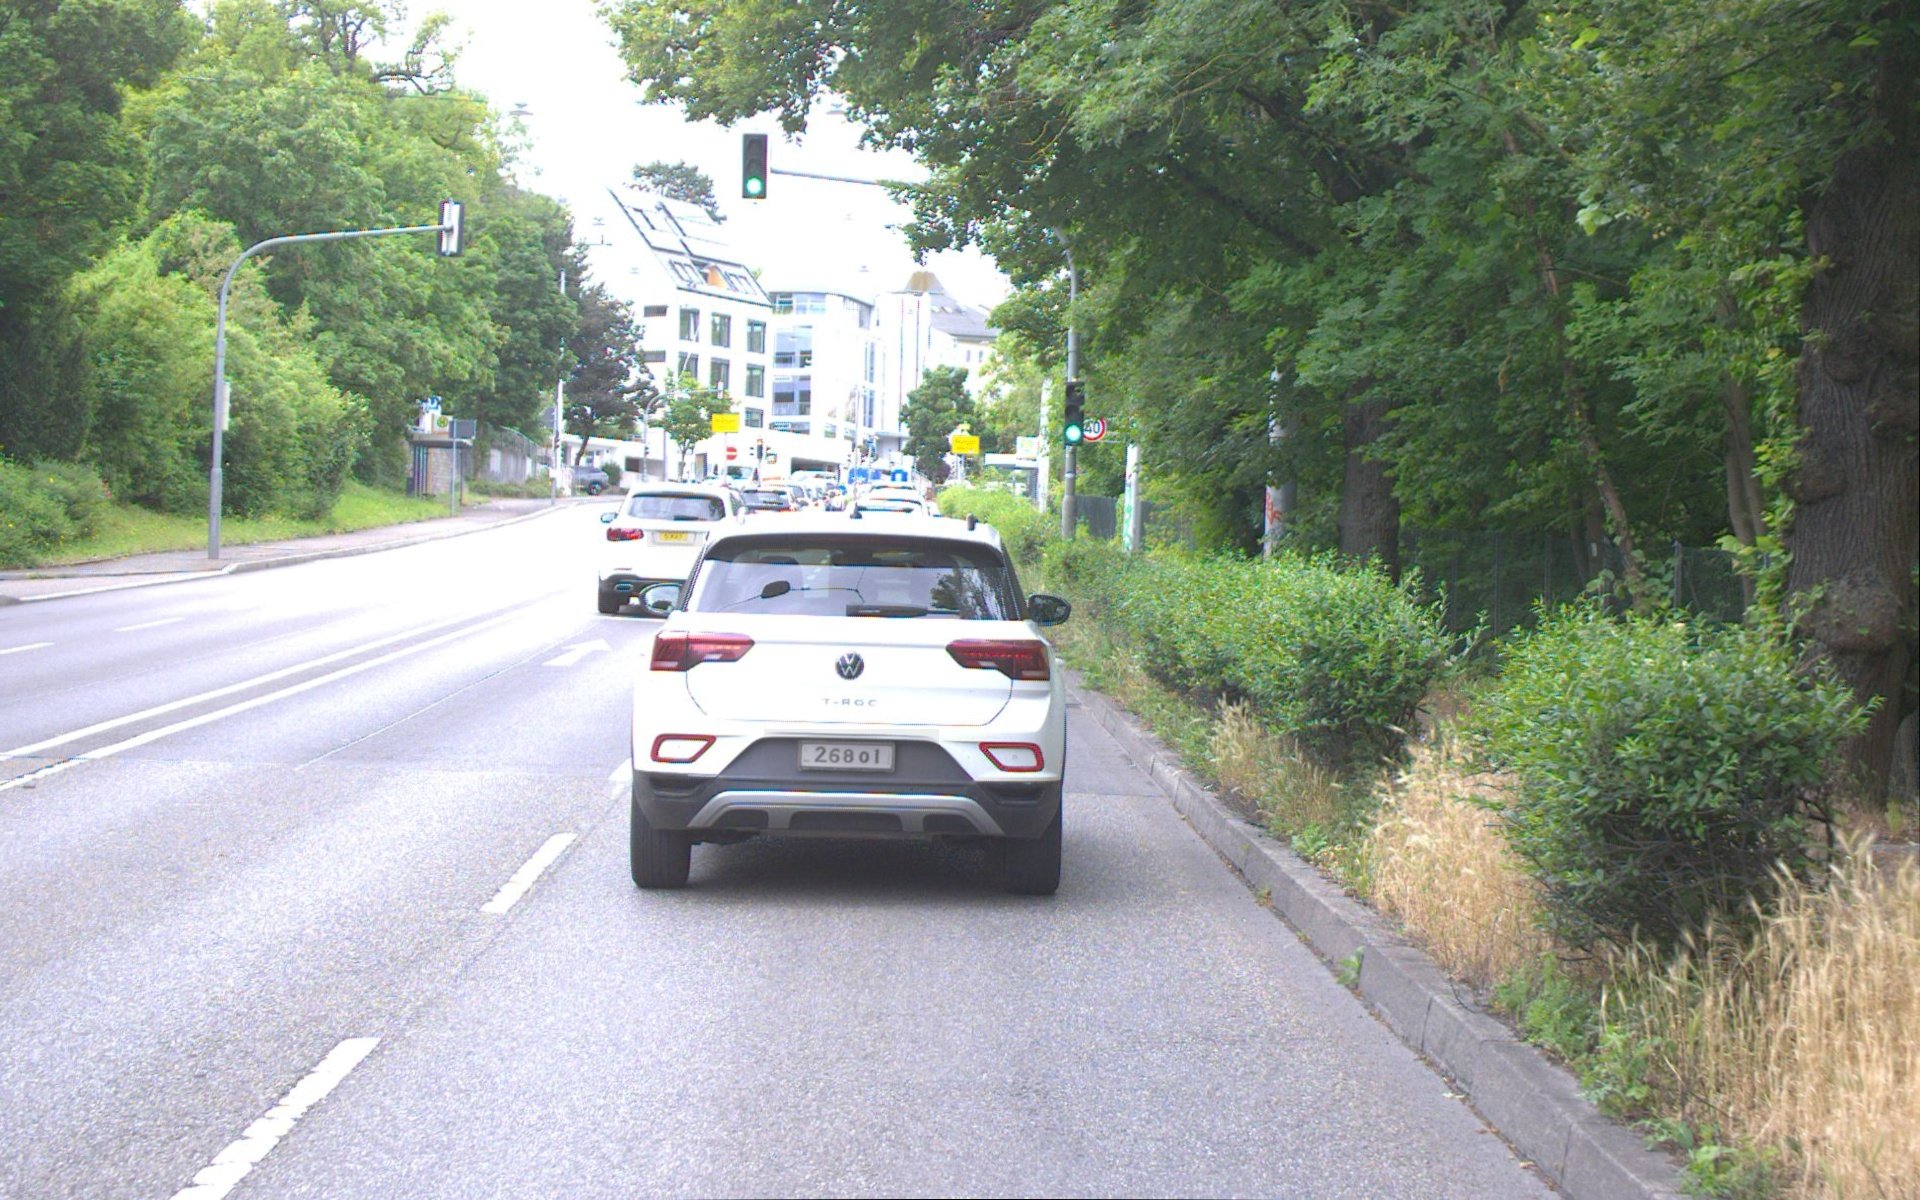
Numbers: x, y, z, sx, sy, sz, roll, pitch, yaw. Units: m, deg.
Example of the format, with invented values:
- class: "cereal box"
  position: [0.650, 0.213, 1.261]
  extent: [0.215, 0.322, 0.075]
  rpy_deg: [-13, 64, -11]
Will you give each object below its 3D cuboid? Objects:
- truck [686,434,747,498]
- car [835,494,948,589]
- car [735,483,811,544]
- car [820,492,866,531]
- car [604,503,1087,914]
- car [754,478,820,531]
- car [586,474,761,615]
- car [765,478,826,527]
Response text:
- class: "truck"
  position: [-10.386, -5.720, 146.945]
  extent: [2.362, 2.697, 4.478]
  rpy_deg: [0, 2, -1]
- class: "car"
  position: [-1.171, -1.019, 58.646]
  extent: [1.829, 1.520, 4.001]
  rpy_deg: [1, 2, -1]
- class: "car"
  position: [-4.863, -2.265, 89.772]
  extent: [1.829, 1.520, 4.001]
  rpy_deg: [1, 2, -1]
- class: "car"
  position: [-4.824, -3.664, 141.730]
  extent: [1.829, 1.520, 4.001]
  rpy_deg: [1, 2, -1]
- class: "car"
  position: [-0.487, 0.365, 15.330]
  extent: [1.829, 1.520, 4.001]
  rpy_deg: [2, 2, -1]
- class: "car"
  position: [-5.158, -2.856, 102.720]
  extent: [1.829, 1.520, 4.001]
  rpy_deg: [1, 2, -1]
- class: "car"
  position: [-3.556, -0.733, 43.258]
  extent: [1.918, 1.663, 4.001]
  rpy_deg: [1, 2, -1]
- class: "car"
  position: [-5.335, -3.172, 111.740]
  extent: [1.829, 1.520, 4.001]
  rpy_deg: [1, 2, -1]
